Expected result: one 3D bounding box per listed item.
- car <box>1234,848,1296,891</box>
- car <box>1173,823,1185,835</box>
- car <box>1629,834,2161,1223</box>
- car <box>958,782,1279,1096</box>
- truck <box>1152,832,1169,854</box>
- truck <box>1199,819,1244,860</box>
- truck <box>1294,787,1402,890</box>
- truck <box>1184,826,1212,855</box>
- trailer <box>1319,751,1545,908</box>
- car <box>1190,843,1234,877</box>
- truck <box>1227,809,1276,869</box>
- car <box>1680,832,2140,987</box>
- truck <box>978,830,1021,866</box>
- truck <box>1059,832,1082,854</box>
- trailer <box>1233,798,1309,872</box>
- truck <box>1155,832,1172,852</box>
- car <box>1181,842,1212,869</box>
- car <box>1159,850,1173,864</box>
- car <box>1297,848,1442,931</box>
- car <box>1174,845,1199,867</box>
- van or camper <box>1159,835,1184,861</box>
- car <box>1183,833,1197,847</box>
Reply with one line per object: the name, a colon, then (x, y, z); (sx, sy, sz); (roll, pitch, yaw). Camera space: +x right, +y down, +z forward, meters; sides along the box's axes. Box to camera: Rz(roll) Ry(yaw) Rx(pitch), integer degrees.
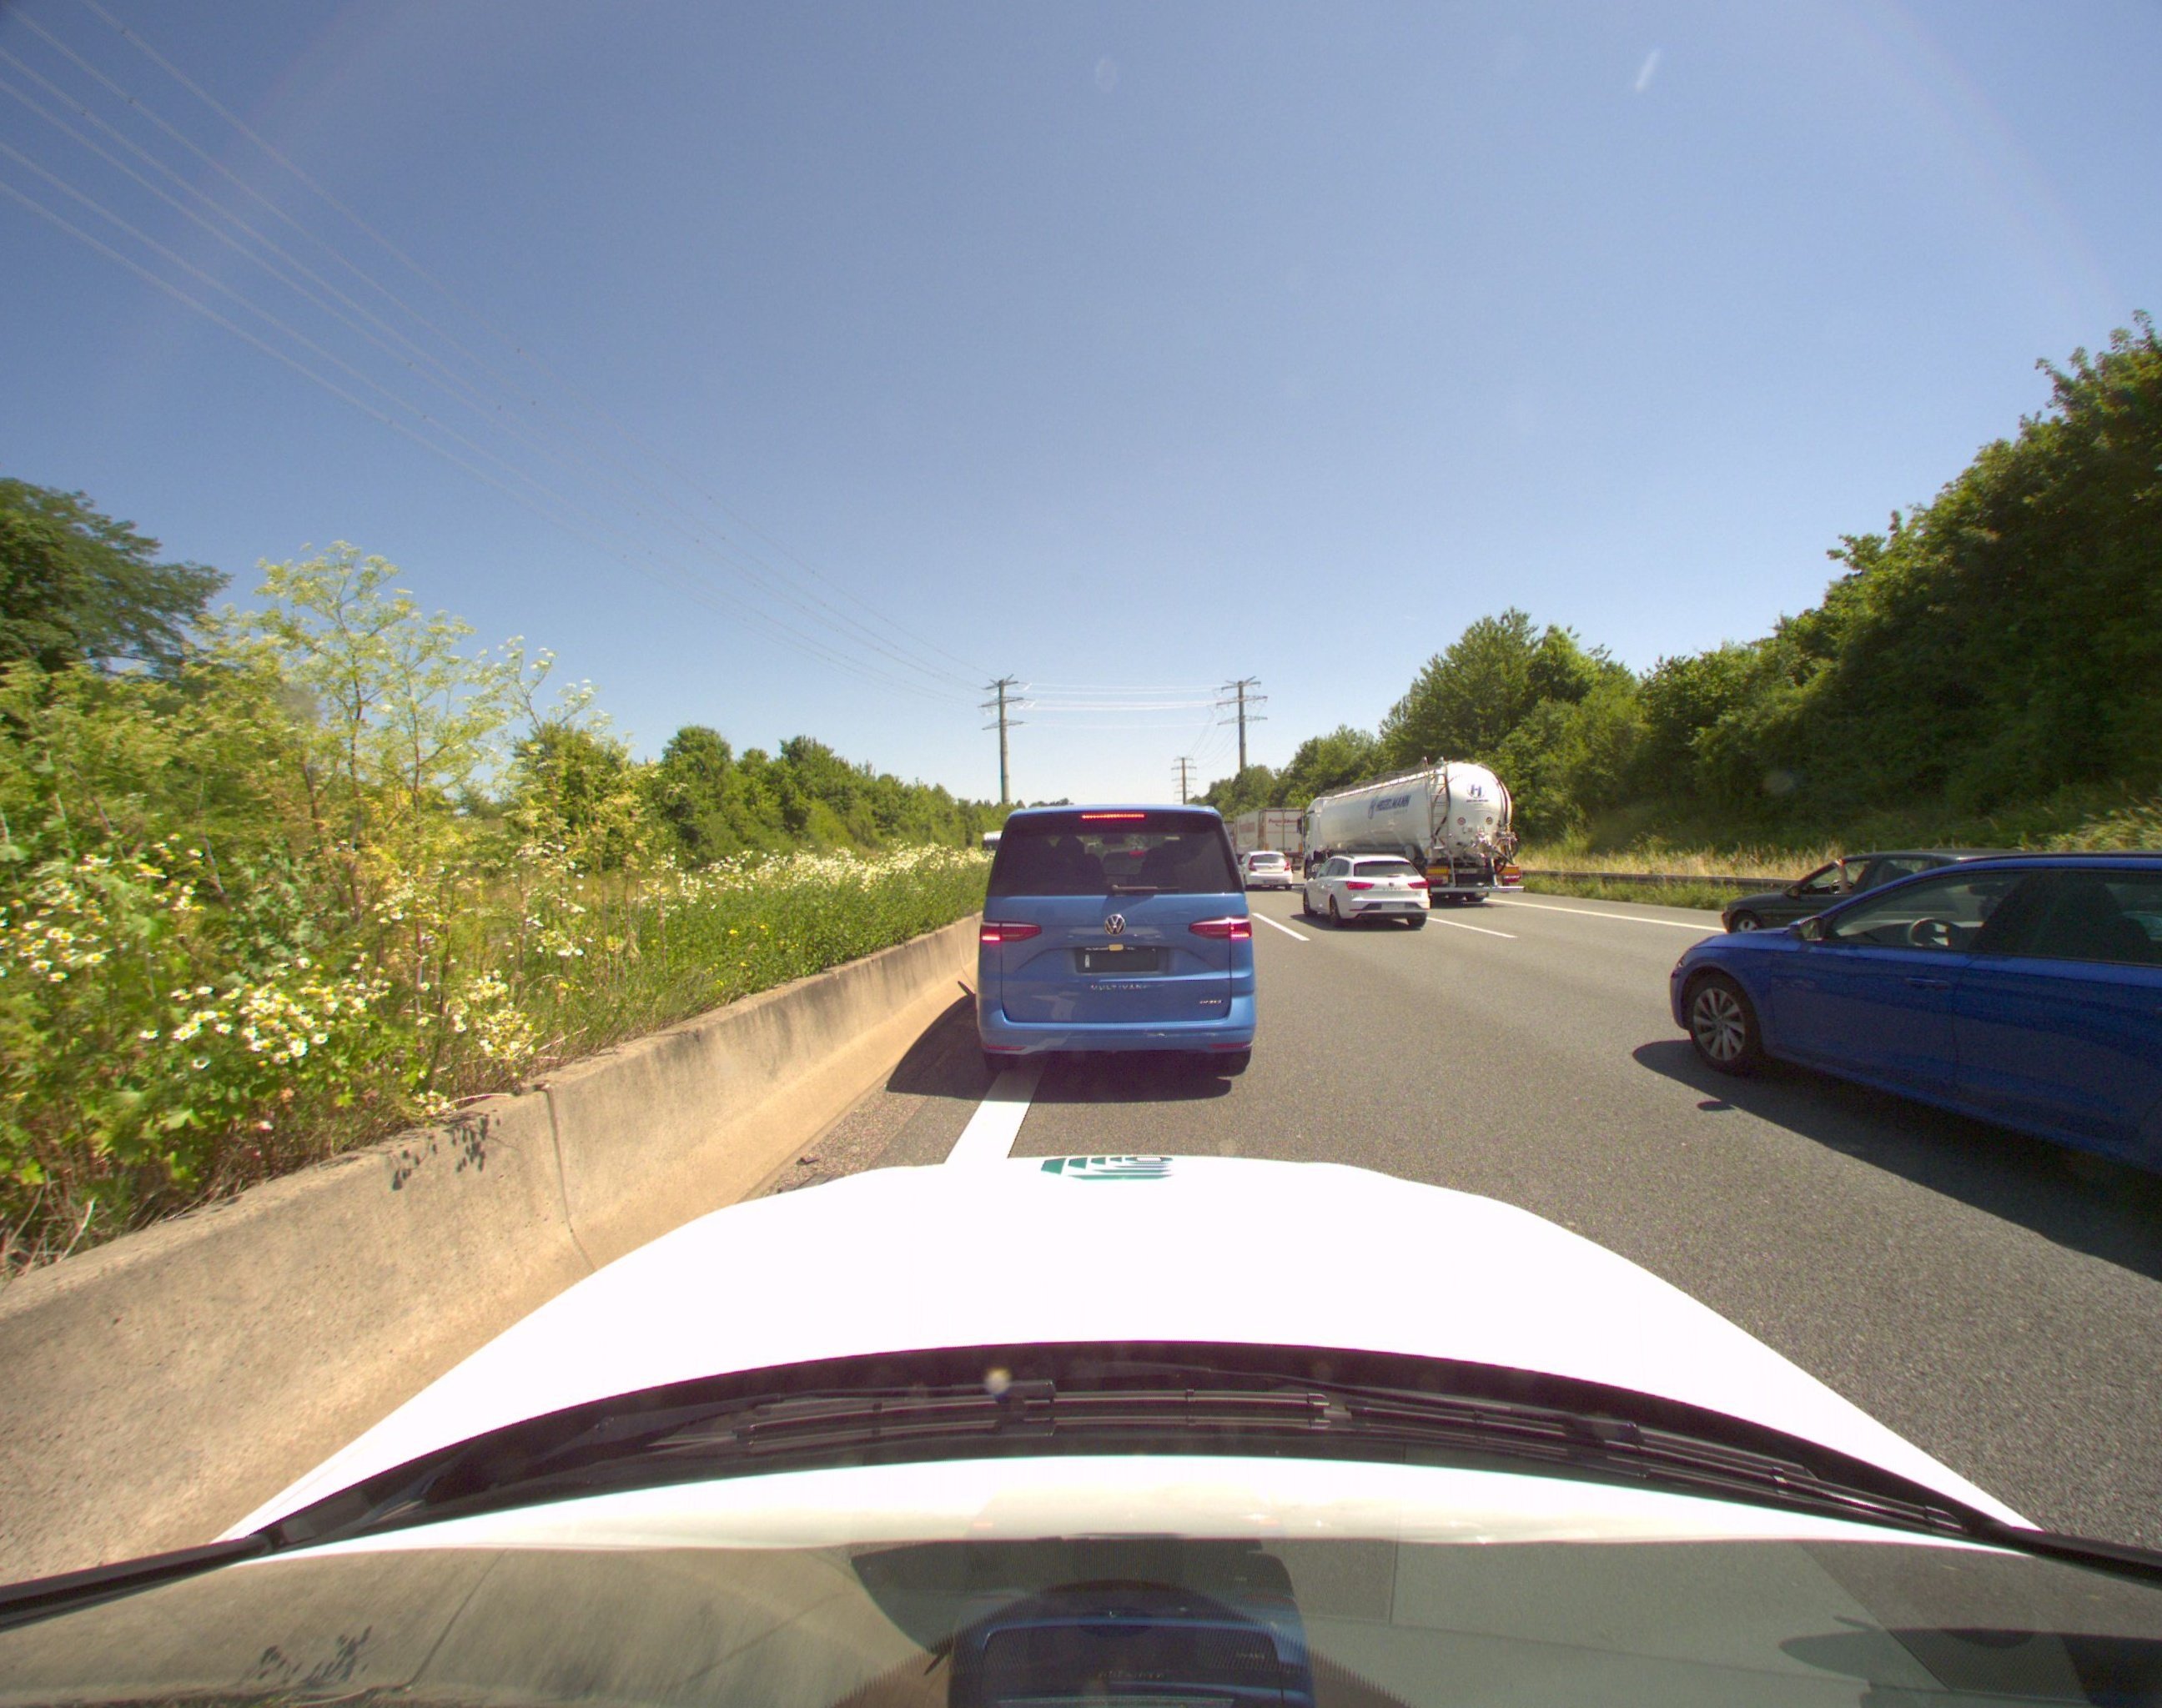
car: (7.110, 0.588, 31.819); (1.808, 1.485, 4.005); (-2, -1, 5)
car: (18.223, -4.552, 151.443); (1.985, 2.014, 4.004); (-2, -1, 4)
car: (4.950, 0.643, 3.848); (1.769, 1.416, 4.576); (-3, -1, 3)
car: (0.349, 0.514, 6.927); (1.912, 1.886, 4.004); (-1, 0, 4)
truck: (15.020, -1.982, 153.623); (2.882, 3.766, 10.152); (-2, -1, 4)
truck: (14.292, -1.290, 83.947); (2.992, 3.766, 15.731); (-2, -1, 4)
truck: (10.923, -0.576, 33.892); (2.781, 3.836, 5.576); (-2, 0, 3)
truck: (16.387, -1.799, 114.977); (2.882, 3.766, 13.360); (-2, -1, 4)
trailer: (10.469, -0.602, 26.172); (2.749, 3.845, 11.495); (-2, 0, 3)
car: (7.216, 0.362, 45.336); (1.990, 1.715, 4.630); (-2, -1, 4)
truck: (13.327, -1.125, 64.091); (2.900, 4.469, 5.146); (-2, 0, 3)
car: (9.498, 0.567, 9.899); (1.634, 1.416, 3.993); (-3, -1, 4)
truck: (-9.144, -0.653, 92.752); (2.899, 3.819, 11.955); (-1, 0, 4)
truck: (-1.751, -1.934, 147.732); (3.159, 3.819, 11.955); (-1, 0, 4)
trailer: (12.896, -1.164, 56.434); (2.900, 4.469, 12.164); (-2, 0, 3)
truck: (19.989, -2.727, 197.099); (3.551, 4.517, 10.301); (-2, -1, 3)
car: (8.793, 0.131, 62.253); (1.915, 1.925, 4.240); (-3, -1, 4)
car: (12.541, 0.502, 120.375); (1.828, 1.998, 4.005); (-3, -1, 5)
car: (5.839, 0.677, 17.058); (1.740, 1.443, 4.318); (-2, -1, 4)
car: (9.685, 0.210, 74.778); (1.915, 1.925, 4.240); (-3, -1, 4)
van or camper: (11.436, -0.729, 103.316); (2.943, 3.022, 7.112); (-2, -1, 5)
car: (17.322, -2.258, 129.681); (1.985, 2.014, 4.004); (-2, -1, 4)
